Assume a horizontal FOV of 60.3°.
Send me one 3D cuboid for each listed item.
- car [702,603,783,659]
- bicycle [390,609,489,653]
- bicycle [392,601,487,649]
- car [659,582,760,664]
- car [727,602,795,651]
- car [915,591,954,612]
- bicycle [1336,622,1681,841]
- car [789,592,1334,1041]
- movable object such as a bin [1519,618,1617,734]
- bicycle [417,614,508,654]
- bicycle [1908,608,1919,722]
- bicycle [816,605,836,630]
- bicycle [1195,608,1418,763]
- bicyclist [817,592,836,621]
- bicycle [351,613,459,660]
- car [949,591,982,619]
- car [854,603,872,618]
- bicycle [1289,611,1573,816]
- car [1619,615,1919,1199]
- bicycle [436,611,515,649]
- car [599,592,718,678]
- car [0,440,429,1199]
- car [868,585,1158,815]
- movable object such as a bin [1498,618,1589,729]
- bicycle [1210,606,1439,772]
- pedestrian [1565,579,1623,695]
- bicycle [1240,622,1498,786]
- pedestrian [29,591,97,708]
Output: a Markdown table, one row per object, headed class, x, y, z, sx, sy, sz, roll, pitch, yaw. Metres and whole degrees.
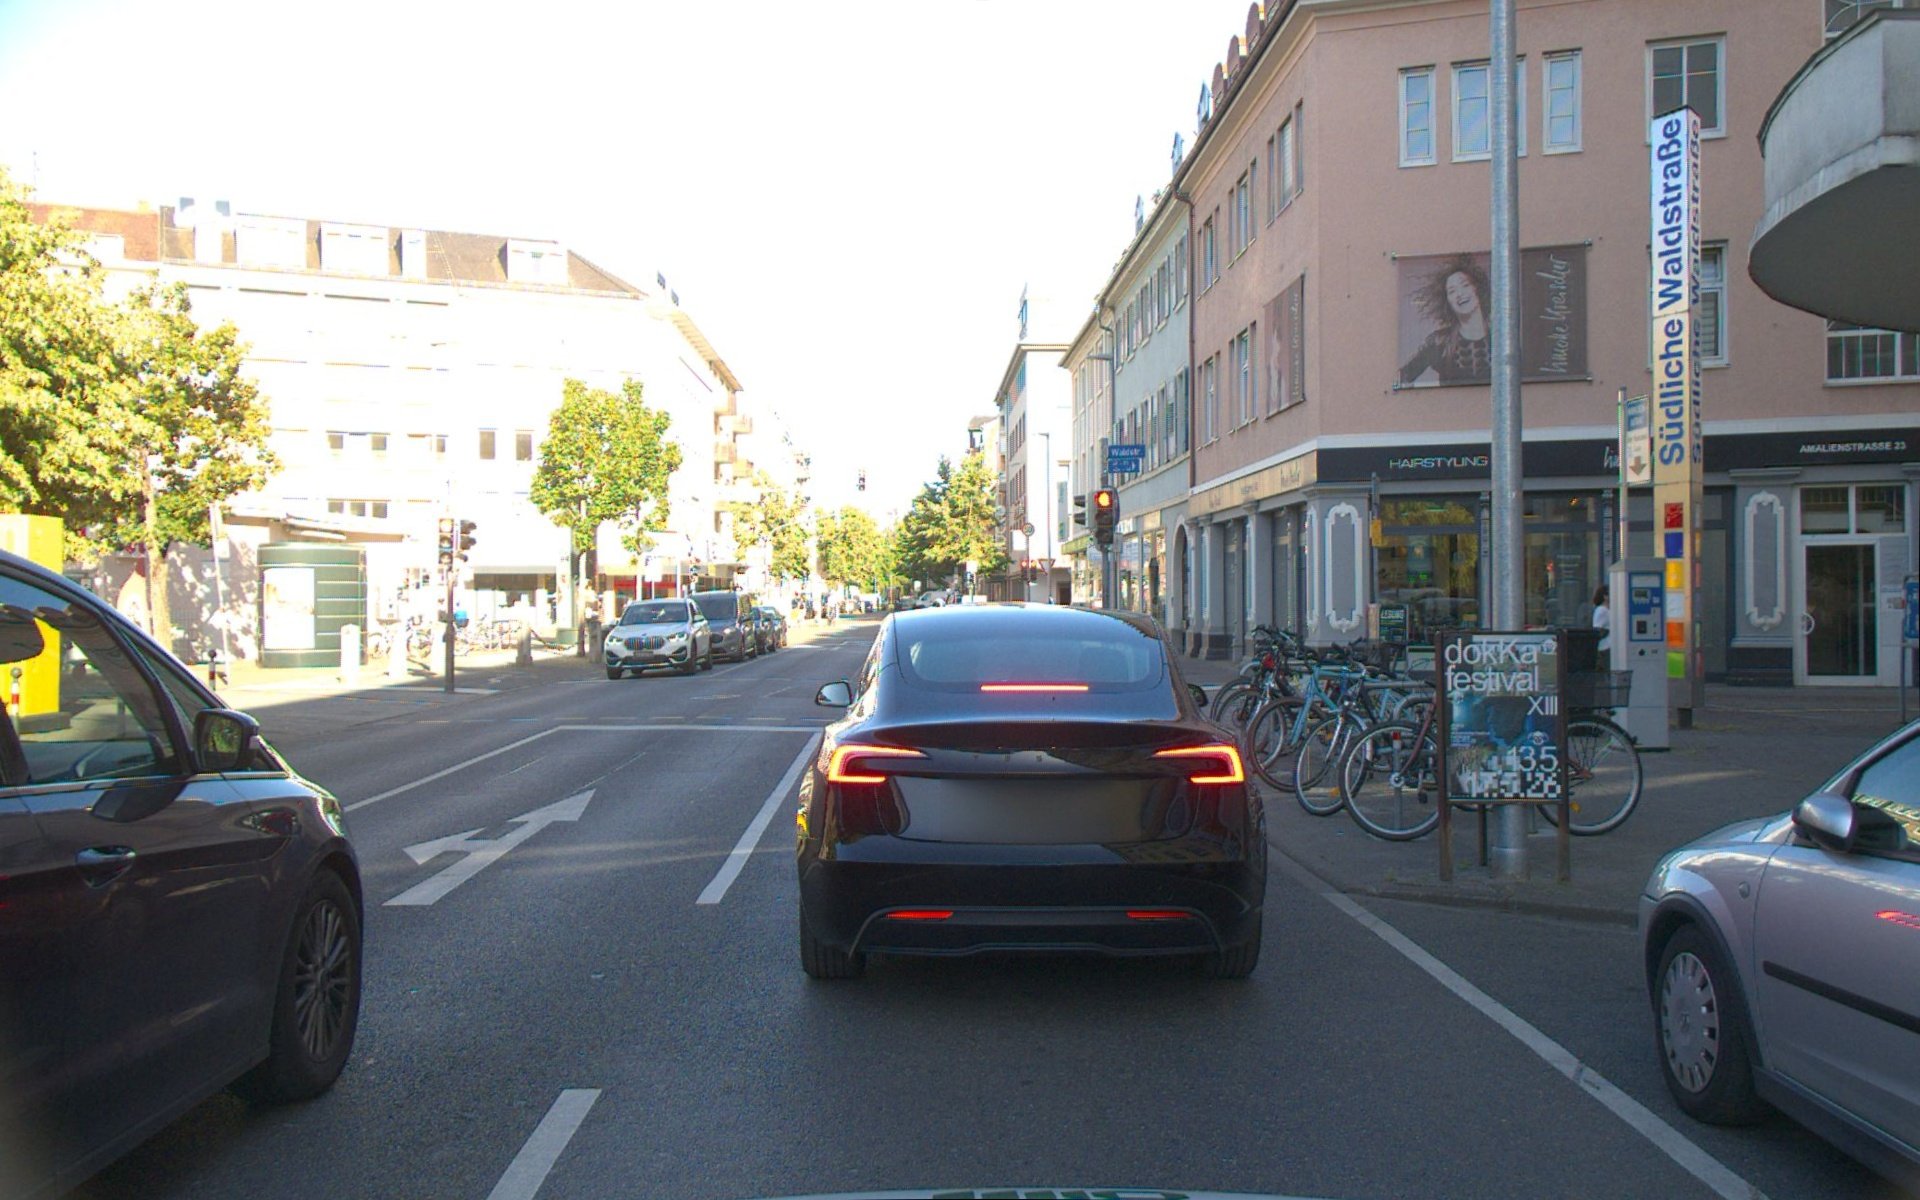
| class | x | y | z | sx | sy | sz | roll | pitch | yaw |
| --- | --- | --- | --- | --- | --- | --- | --- | --- | --- |
| car | -6.424 | 0.883 | 49.321 | 1.954 | 1.434 | 4.671 | -4 | 0 | -3 |
| bicycle | -14.106 | 0.842 | 44.885 | 2.412 | 1.176 | 0.842 | 0 | 0 | -2 |
| bicycle | -14.714 | 0.697 | 46.808 | 2.429 | 1.347 | 0.921 | 0 | 0 | -6 |
| car | -6.370 | 0.536 | 42.500 | 1.797 | 1.877 | 4.674 | -4 | 0 | 0 |
| car | -6.806 | 0.871 | 56.907 | 1.954 | 1.461 | 4.671 | -4 | 0 | -3 |
| car | -2.572 | 0.159 | 167.513 | 3.907 | 2.049 | 1.999 | 0 | 0 | -2 |
| bicycle | 3.284 | 0.781 | 10.025 | 1.846 | 1.214 | 0.692 | -2 | 1 | 5 |
| car | 0.312 | 0.721 | 7.494 | 1.810 | 1.480 | 3.999 | 0 | 0 | -1 |
| movable object such as a bin | 6.042 | 0.745 | 16.462 | 0.737 | 1.111 | 0.627 | 1 | 0 | 1 |
| bicycle | -14.892 | 1.015 | 49.563 | 2.485 | 1.176 | 0.841 | 0 | 0 | -6 |
| bicycle | 10.359 | 0.696 | 16.961 | 0.645 | 1.220 | 2.212 | 0 | 0 | 18 |
| bicycle | -7.700 | 0.998 | 95.398 | 1.089 | 1.368 | 3.997 | 0 | 0 | -4 |
| bicycle | 3.050 | 0.745 | 14.714 | 1.822 | 1.280 | 0.833 | -2 | 0 | 5 |
| bicyclist | -7.716 | 0.371 | 95.492 | 1.104 | 1.657 | 0.964 | 0 | 0 | -4 |
| bicycle | -14.192 | 0.923 | 42.352 | 2.455 | 1.176 | 0.842 | 0 | 0 | -2 |
| car | 0.312 | 0.317 | 100.645 | 1.953 | 1.657 | 3.999 | 0 | 0 | -1 |
| car | -10.985 | 1.213 | 186.890 | 1.954 | 1.666 | 3.997 | 0 | 0 | -4 |
| bicycle | 3.137 | 0.746 | 11.155 | 1.686 | 1.290 | 0.791 | -2 | 0 | 5 |
| car | 2.929 | 0.775 | 3.514 | 1.580 | 1.406 | 3.642 | 1 | 0 | 0 |
| bicycle | -15.216 | 0.941 | 51.986 | 2.279 | 1.176 | 0.841 | 0 | 0 | -6 |
| car | -6.325 | 0.690 | 35.102 | 1.771 | 1.582 | 4.308 | -4 | 0 | -2 |
| car | -2.730 | 0.621 | 3.279 | 1.953 | 1.803 | 4.726 | -1 | 0 | -2 |
| car | 0.285 | 0.665 | 13.203 | 1.953 | 1.538 | 4.173 | 0 | 0 | -2 |
| movable object such as a bin | 6.021 | 0.747 | 17.099 | 0.718 | 1.111 | 0.627 | 1 | 0 | 1 |
| bicycle | 2.985 | 0.718 | 13.683 | 1.709 | 1.289 | 0.781 | -2 | 0 | 2 |
| pedestrian | 8.859 | 0.503 | 23.097 | 0.732 | 1.579 | 0.699 | 0 | 0 | 23 |
| bicycle | 3.054 | 0.768 | 12.505 | 1.760 | 1.144 | 0.782 | -2 | 0 | 5 |
| pedestrian | -13.263 | 0.718 | 24.467 | 0.670 | 1.692 | 0.620 | 0 | 0 | 29 |
